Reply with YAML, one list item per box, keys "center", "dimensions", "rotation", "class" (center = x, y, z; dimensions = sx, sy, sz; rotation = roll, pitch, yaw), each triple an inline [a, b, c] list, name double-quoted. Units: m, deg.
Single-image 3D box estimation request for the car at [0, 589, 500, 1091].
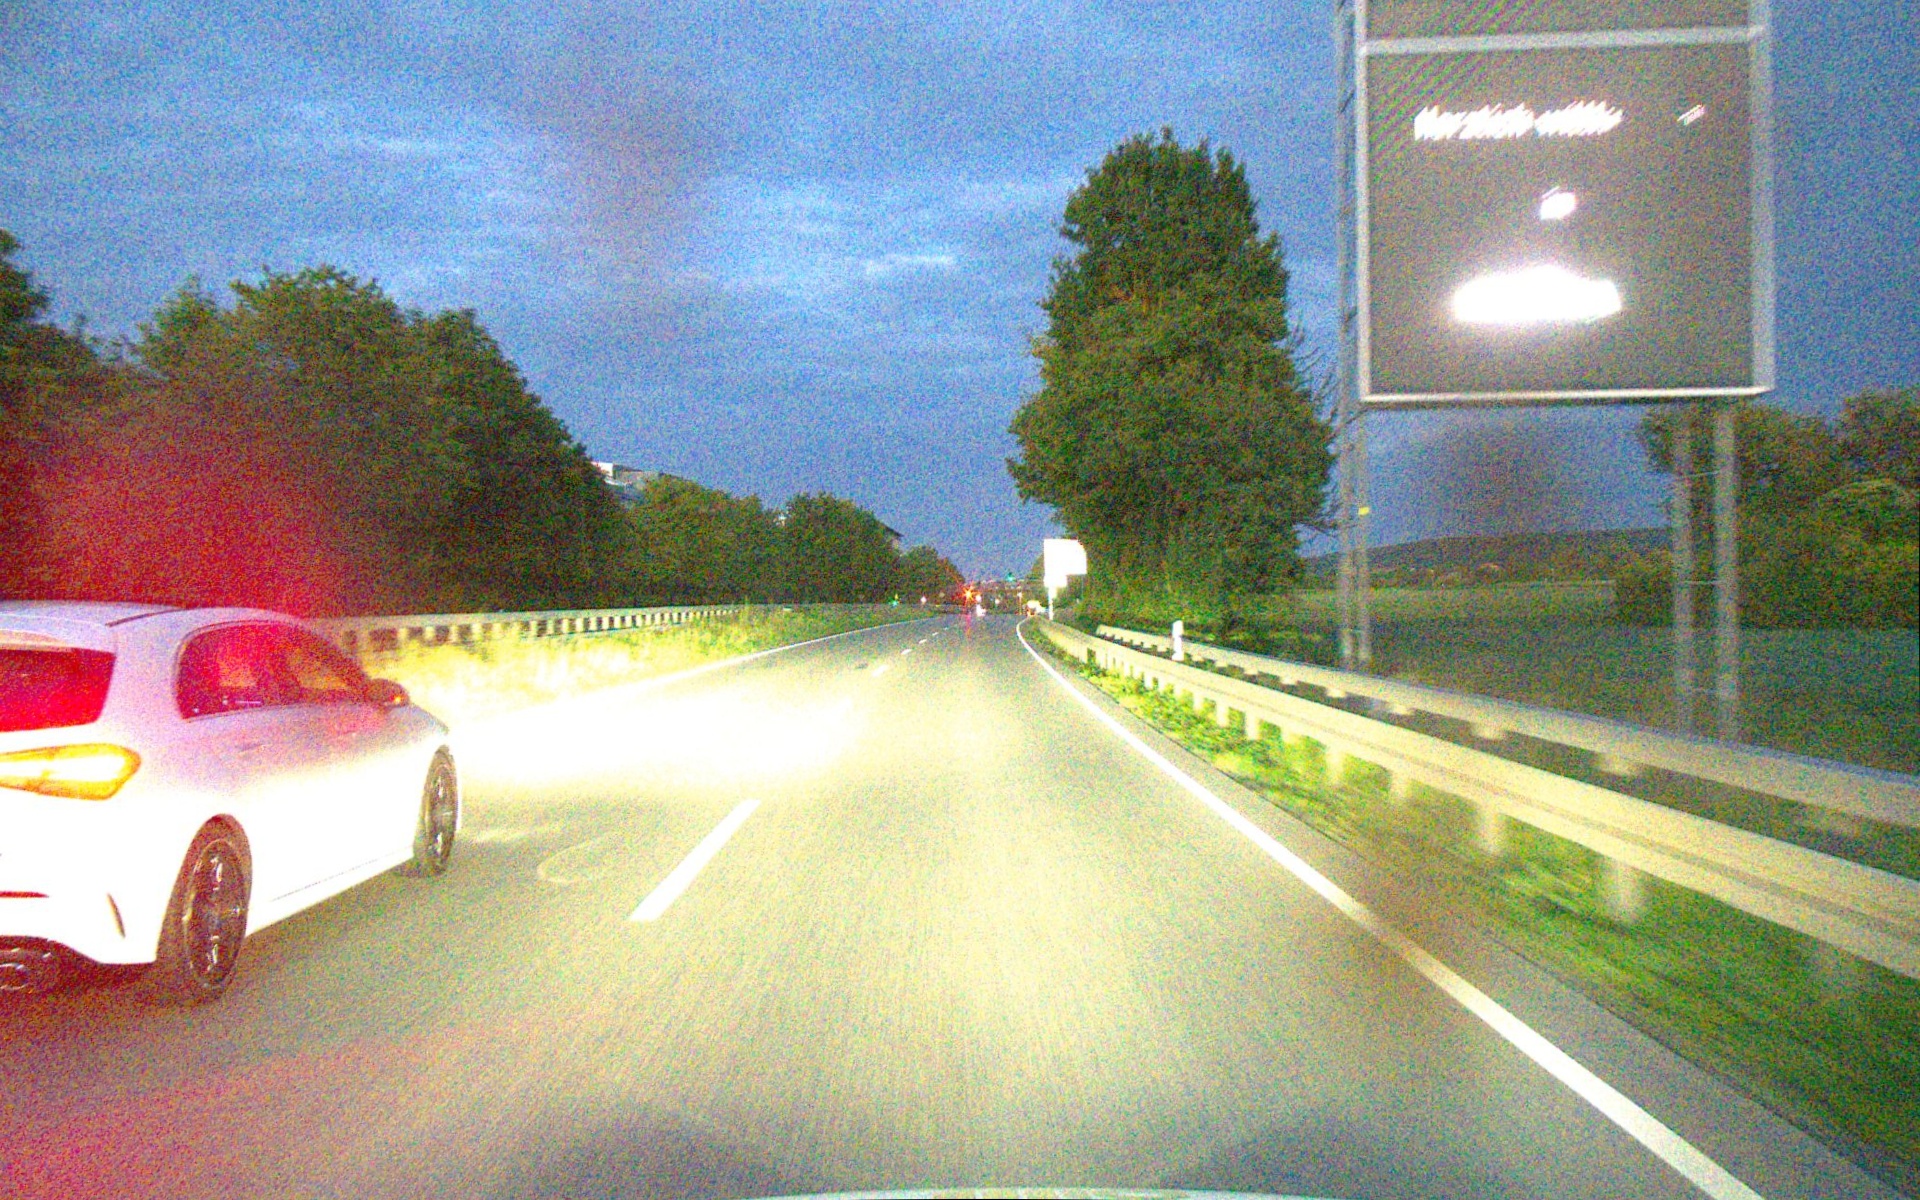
- center: [-3.408, 0.725, 7.272]
  dimensions: [1.609, 1.516, 4.578]
  rotation: [1, 0, -2]
  class: "car"
